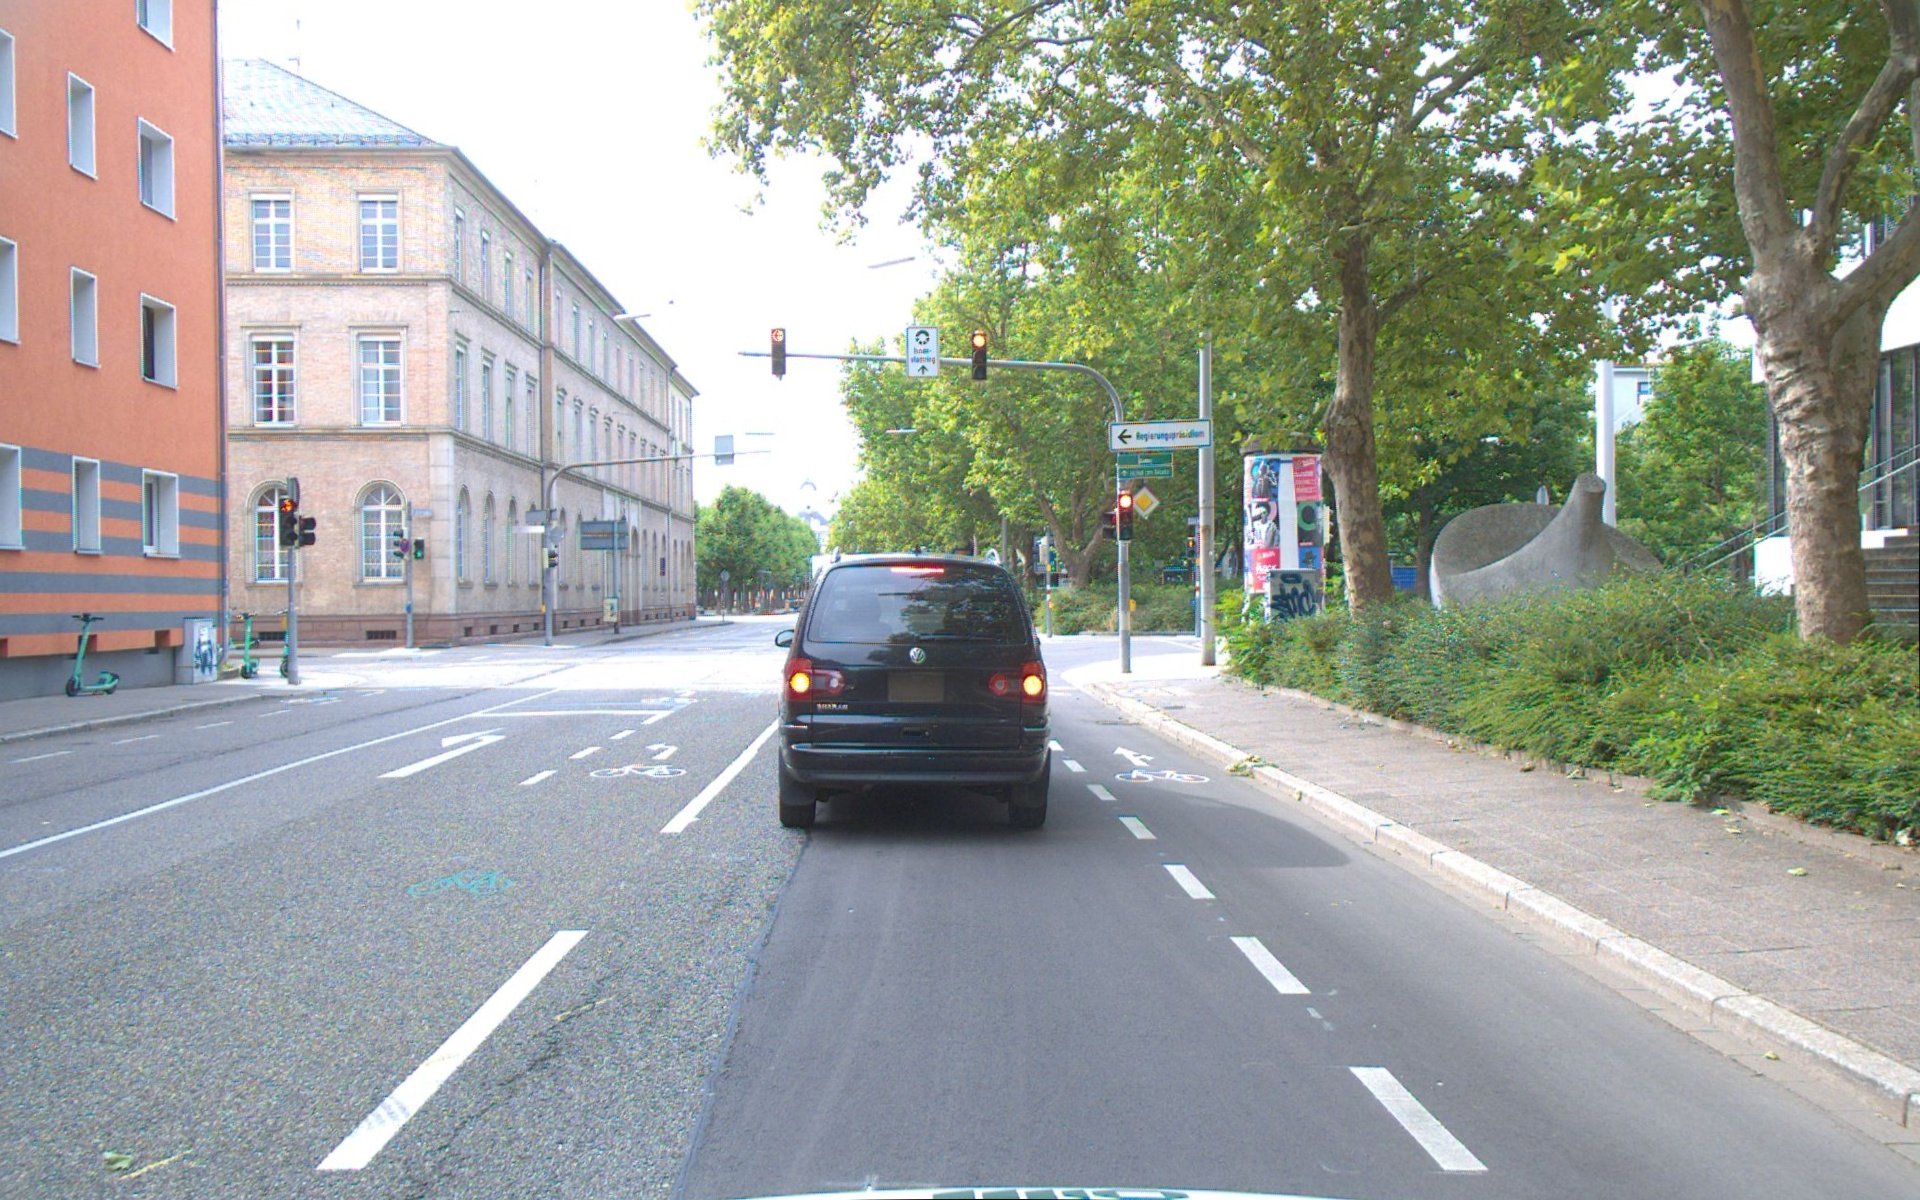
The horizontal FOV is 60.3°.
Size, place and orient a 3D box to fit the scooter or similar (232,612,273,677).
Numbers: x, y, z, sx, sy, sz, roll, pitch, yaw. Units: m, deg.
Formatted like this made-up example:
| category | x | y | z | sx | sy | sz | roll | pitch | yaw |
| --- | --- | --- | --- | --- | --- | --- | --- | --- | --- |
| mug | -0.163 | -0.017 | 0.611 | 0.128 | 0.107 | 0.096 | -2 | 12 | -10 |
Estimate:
| category | x | y | z | sx | sy | sz | roll | pitch | yaw |
| --- | --- | --- | --- | --- | --- | --- | --- | --- | --- |
| scooter or similar | -13.022 | 0.813 | 30.455 | 0.370 | 1.167 | 1.140 | -1 | -1 | -5 |

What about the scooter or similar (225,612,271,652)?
| category | x | y | z | sx | sy | sz | roll | pitch | yaw |
| --- | --- | --- | --- | --- | --- | --- | --- | --- | --- |
| scooter or similar | -19.611 | 0.884 | 45.567 | 1.115 | 1.068 | 0.379 | -1 | -1 | -3 |

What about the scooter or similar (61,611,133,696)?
| category | x | y | z | sx | sy | sz | roll | pitch | yaw |
| --- | --- | --- | --- | --- | --- | --- | --- | --- | --- |
| scooter or similar | -12.643 | 0.773 | 24.251 | 0.370 | 1.204 | 1.389 | -1 | -1 | -2 |

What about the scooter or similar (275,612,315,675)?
| category | x | y | z | sx | sy | sz | roll | pitch | yaw |
| --- | --- | --- | --- | --- | --- | --- | --- | --- | --- |
| scooter or similar | -12.463 | 0.817 | 31.021 | 0.370 | 1.164 | 1.140 | -1 | -1 | -5 |

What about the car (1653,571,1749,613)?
| category | x | y | z | sx | sy | sz | roll | pitch | yaw |
| --- | --- | --- | --- | --- | --- | --- | --- | --- | --- |
| car | 30.678 | -0.343 | 68.605 | 1.922 | 1.680 | 4.149 | -1 | 0 | -4 |

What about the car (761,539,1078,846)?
| category | x | y | z | sx | sy | sz | roll | pitch | yaw |
| --- | --- | --- | --- | --- | --- | --- | --- | --- | --- |
| car | -0.230 | 0.521 | 11.965 | 1.835 | 1.775 | 4.573 | 0 | 0 | 0 |
